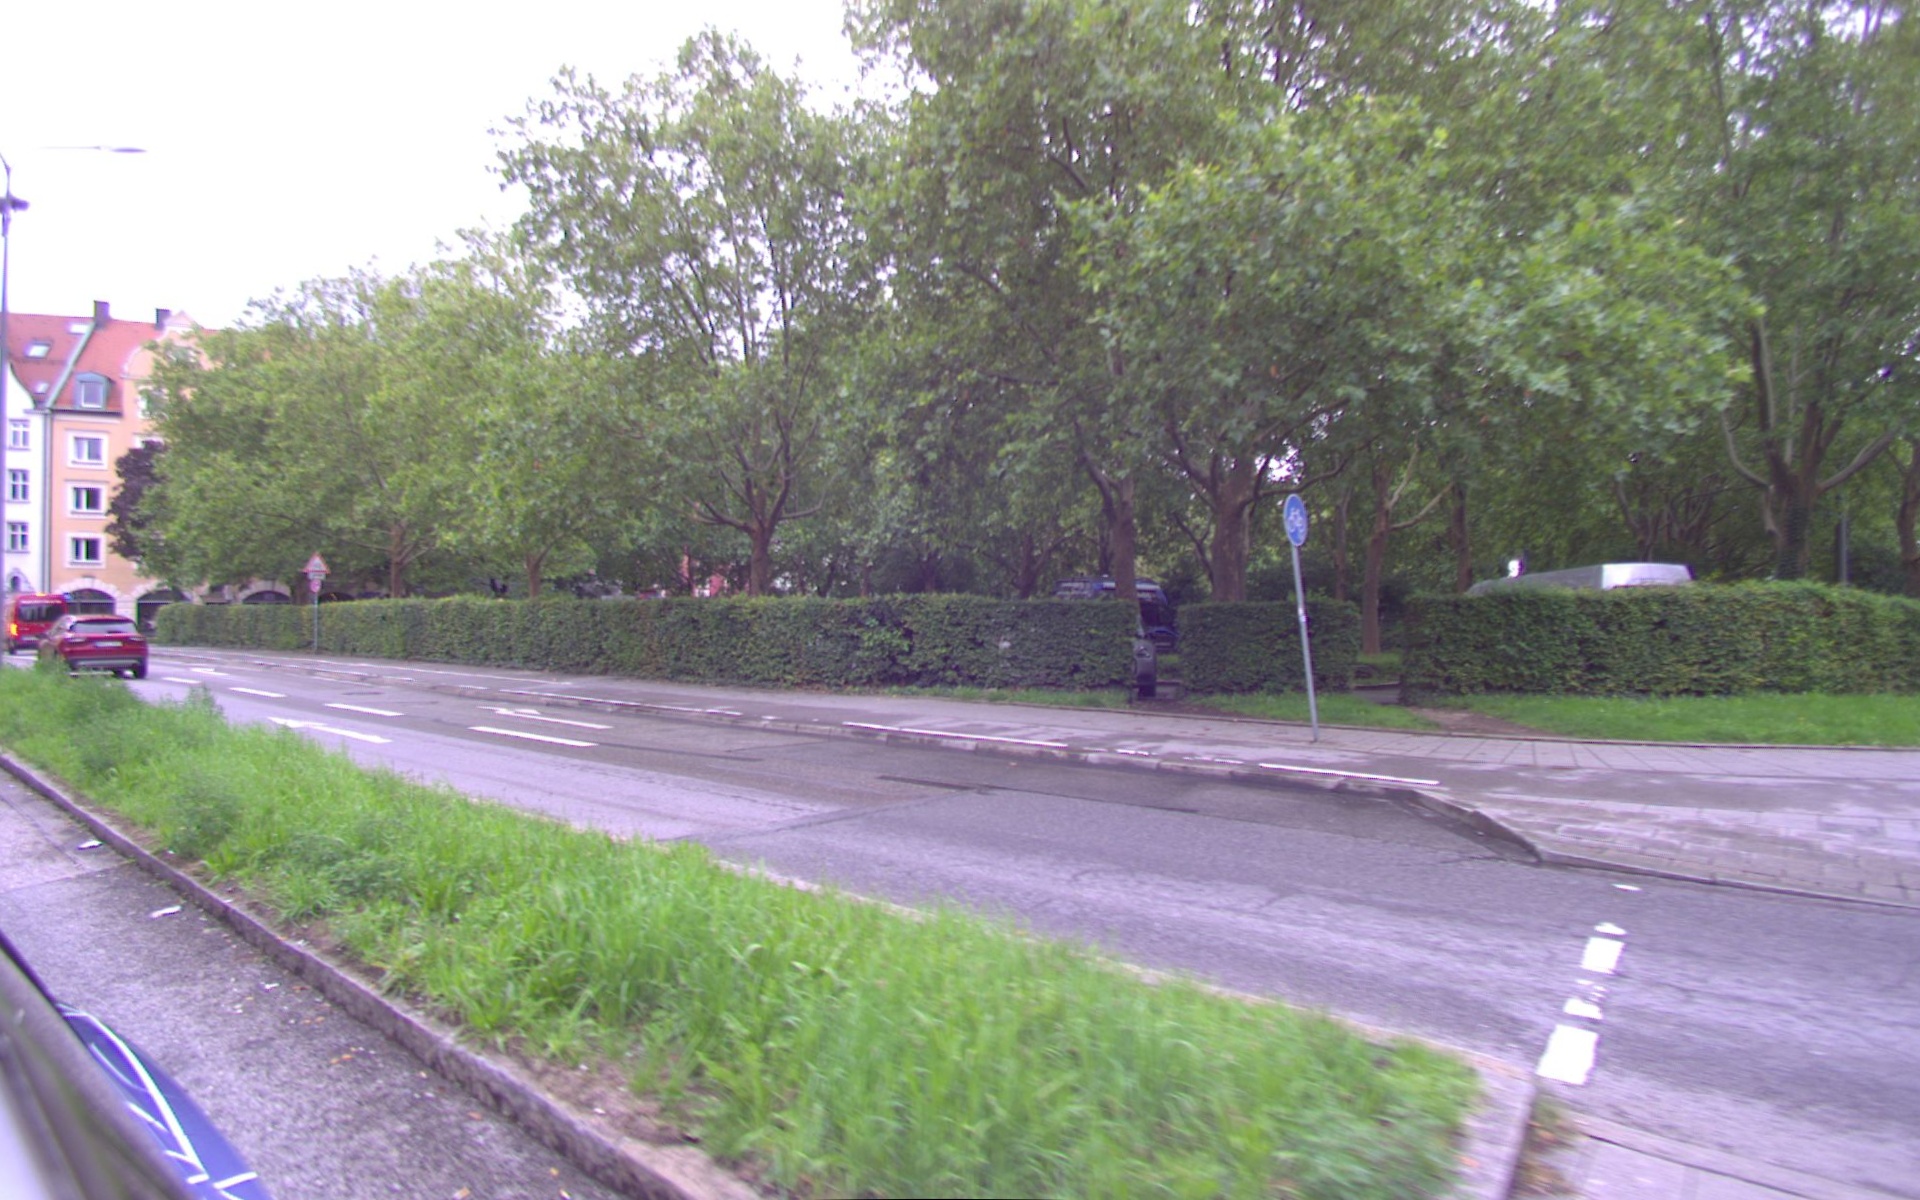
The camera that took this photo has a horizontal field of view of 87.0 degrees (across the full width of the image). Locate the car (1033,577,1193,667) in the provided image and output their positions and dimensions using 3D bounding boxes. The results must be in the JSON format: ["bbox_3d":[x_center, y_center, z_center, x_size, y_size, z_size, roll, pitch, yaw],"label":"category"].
[{"bbox_3d":[4.876,0.609,31.528,2.000,2.554,5.780,0,0,43],"label":"car"}]

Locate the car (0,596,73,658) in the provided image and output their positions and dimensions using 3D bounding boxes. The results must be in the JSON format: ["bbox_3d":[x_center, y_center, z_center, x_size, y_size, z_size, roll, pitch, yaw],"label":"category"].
[{"bbox_3d":[-41.331,1.257,44.939,6.077,2.609,2.081,-3,-4,41],"label":"car"}]

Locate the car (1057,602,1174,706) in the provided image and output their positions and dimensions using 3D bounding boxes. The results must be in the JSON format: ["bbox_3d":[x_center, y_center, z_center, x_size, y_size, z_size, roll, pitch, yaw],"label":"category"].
[{"bbox_3d":[3.085,0.950,19.531,1.762,1.776,3.504,0,0,17],"label":"car"}]

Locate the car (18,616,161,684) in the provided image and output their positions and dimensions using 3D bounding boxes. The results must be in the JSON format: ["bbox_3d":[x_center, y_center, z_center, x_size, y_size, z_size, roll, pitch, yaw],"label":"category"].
[{"bbox_3d":[-23.121,1.328,26.825,4.935,1.650,2.082,-3,-4,40],"label":"car"}]

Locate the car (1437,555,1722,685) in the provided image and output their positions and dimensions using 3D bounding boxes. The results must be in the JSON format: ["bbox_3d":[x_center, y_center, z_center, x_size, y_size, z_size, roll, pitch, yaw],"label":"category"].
[{"bbox_3d":[11.480,0.513,19.283,1.968,2.029,4.635,-1,-6,-8],"label":"car"}]
